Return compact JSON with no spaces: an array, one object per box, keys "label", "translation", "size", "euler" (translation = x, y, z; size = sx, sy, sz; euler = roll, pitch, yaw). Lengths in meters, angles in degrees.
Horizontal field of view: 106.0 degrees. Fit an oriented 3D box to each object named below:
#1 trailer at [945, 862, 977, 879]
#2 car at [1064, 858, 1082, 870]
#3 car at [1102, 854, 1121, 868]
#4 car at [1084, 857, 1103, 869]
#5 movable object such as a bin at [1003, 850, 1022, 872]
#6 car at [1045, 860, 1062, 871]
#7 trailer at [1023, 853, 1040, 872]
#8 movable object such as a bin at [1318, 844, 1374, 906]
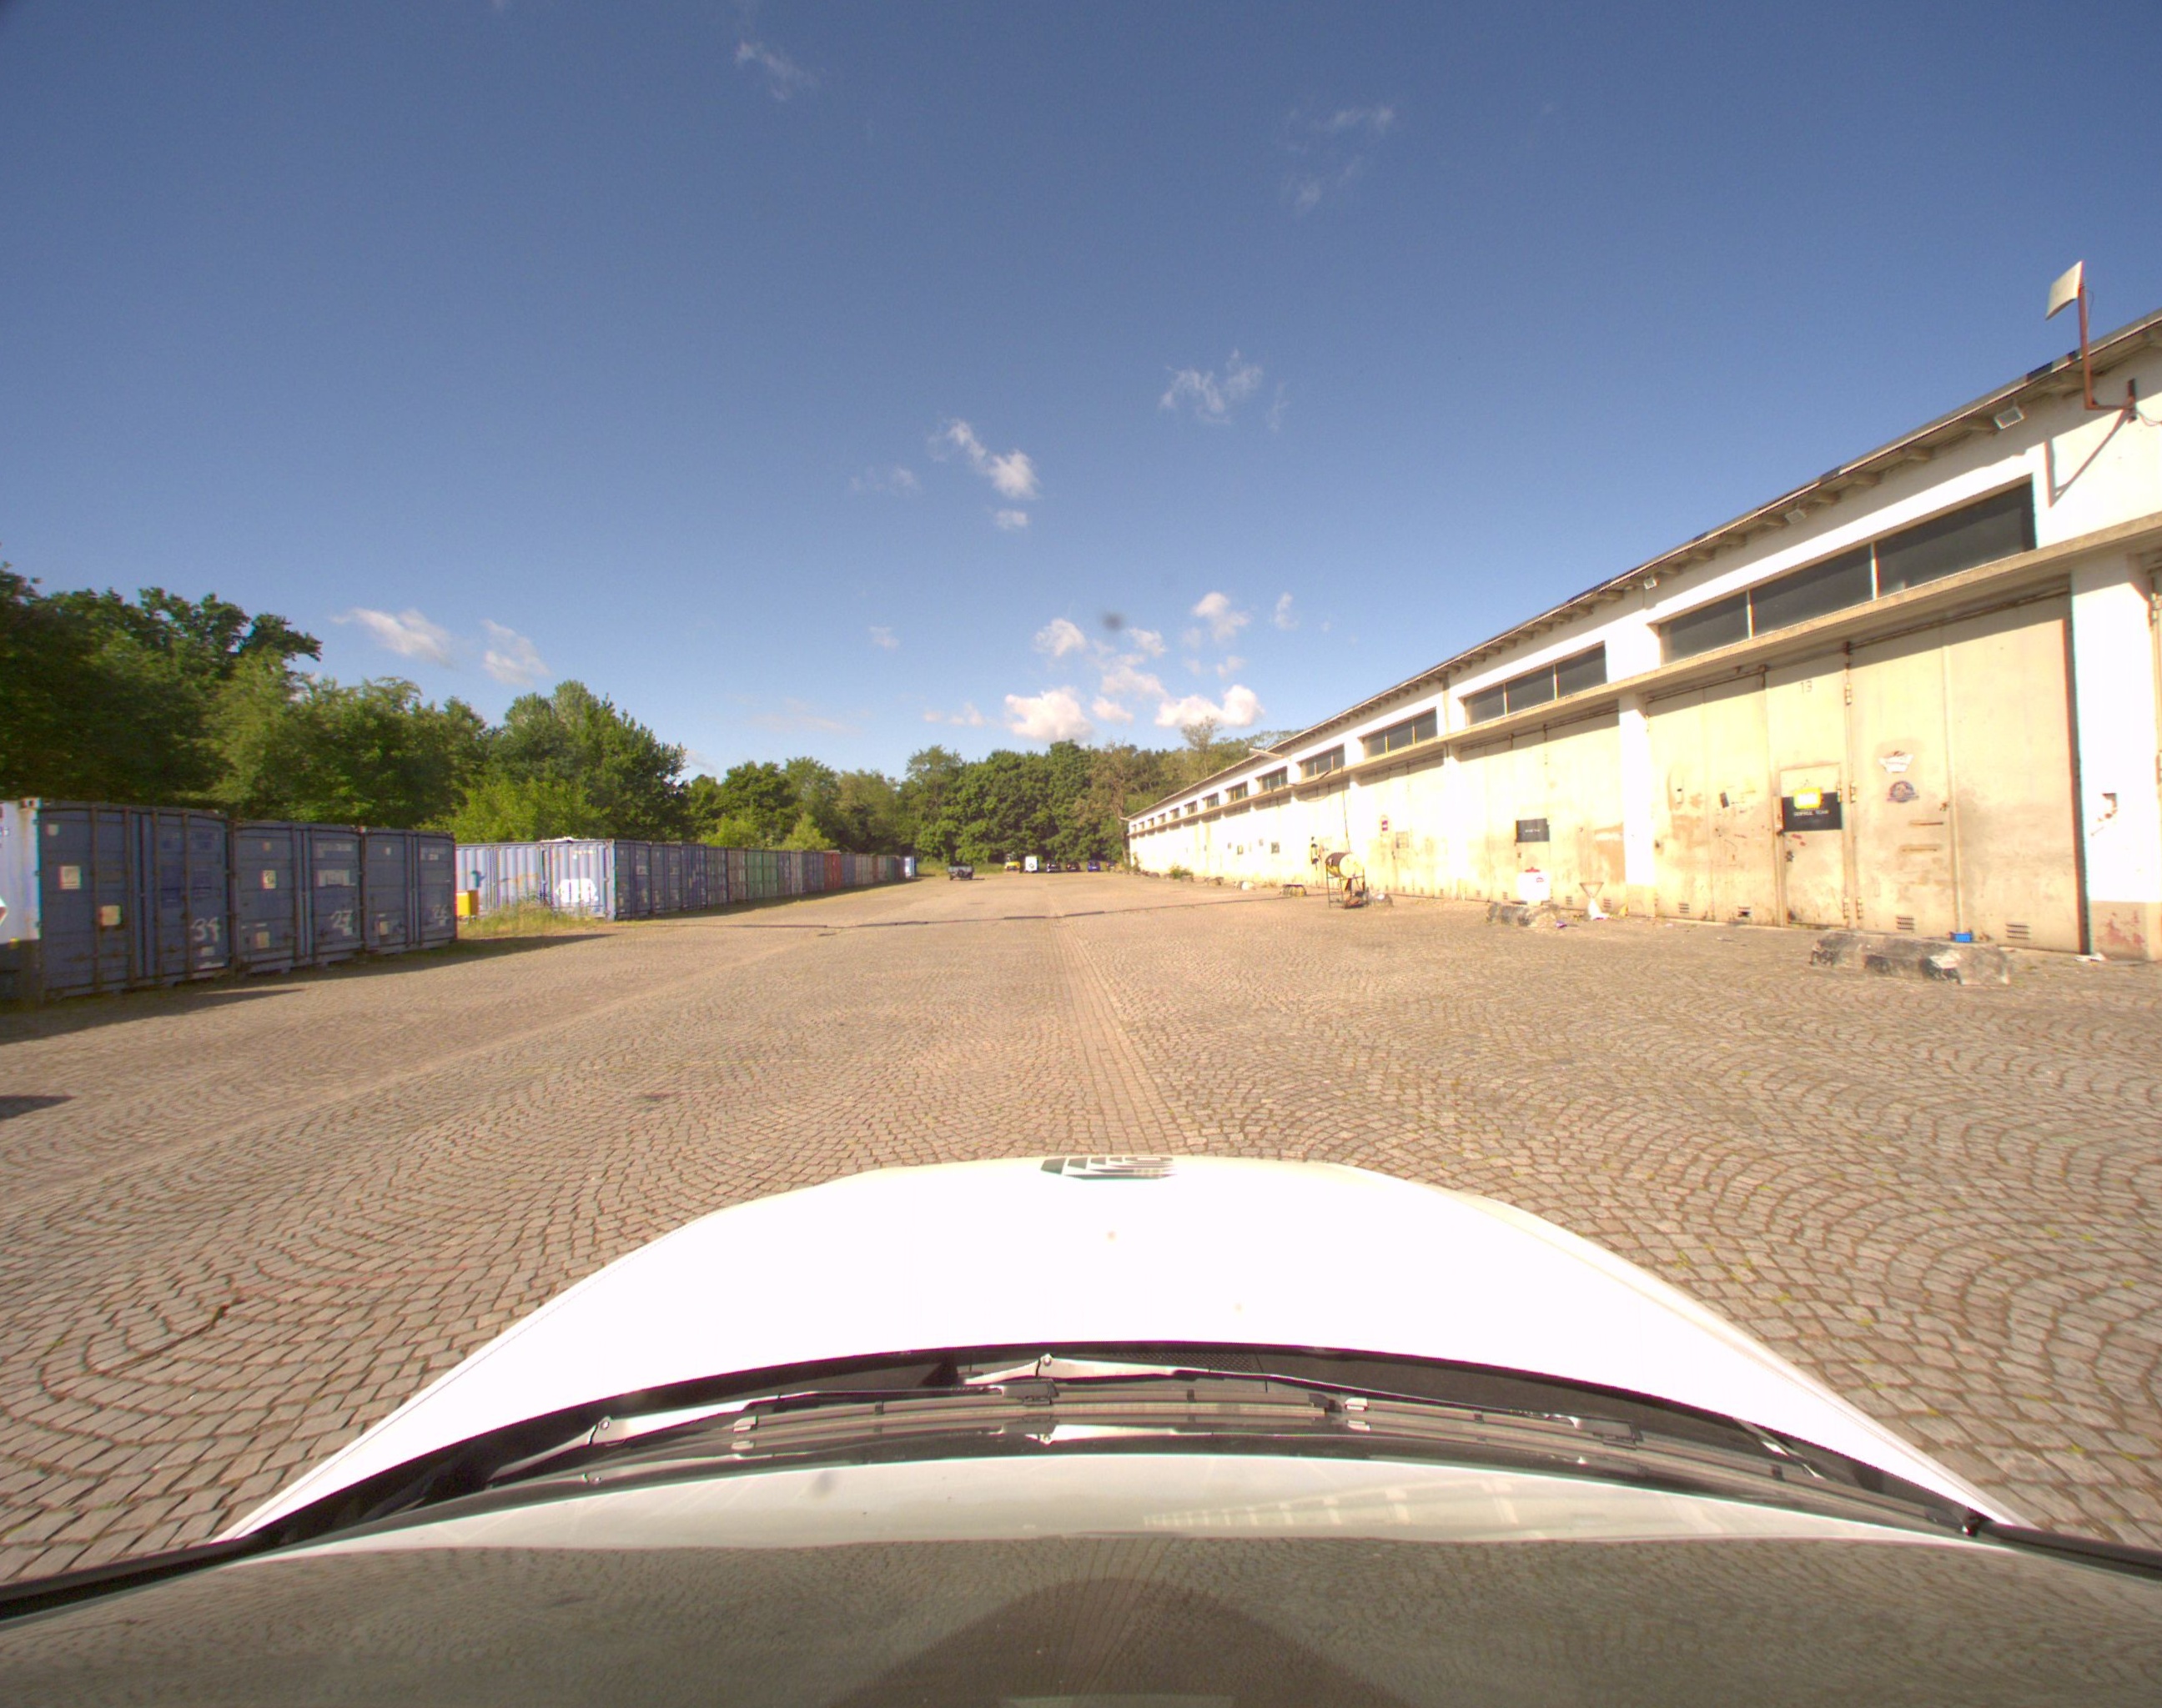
[{"label":"trailer","translation":[-12.319,1.678,84.083],"size":[2.786,1.646,5.612],"euler":[-3,0,-4]},{"label":"car","translation":[-1.018,1.273,102.585],"size":[1.989,1.424,3.995],"euler":[-3,0,-4]},{"label":"car","translation":[3.834,0.899,104.161],"size":[1.989,1.772,3.995],"euler":[-3,0,-4]},{"label":"car","translation":[1.559,1.116,102.755],"size":[1.989,1.466,3.995],"euler":[-3,0,-4]},{"label":"movable object such as a bin","translation":[-8.763,0.896,103.673],"size":[2.229,2.657,3.992],"euler":[-3,0,-6]},{"label":"car","translation":[-3.511,1.410,102.037],"size":[1.989,1.258,3.995],"euler":[-3,0,-4]},{"label":"trailer","translation":[-6.257,1.066,103.086],"size":[1.990,2.162,4.425],"euler":[-3,0,-4]},{"label":"movable object such as a bin","translation":[6.309,0.500,19.451],"size":[0.873,1.401,1.100],"euler":[-2,-1,-5]}]
